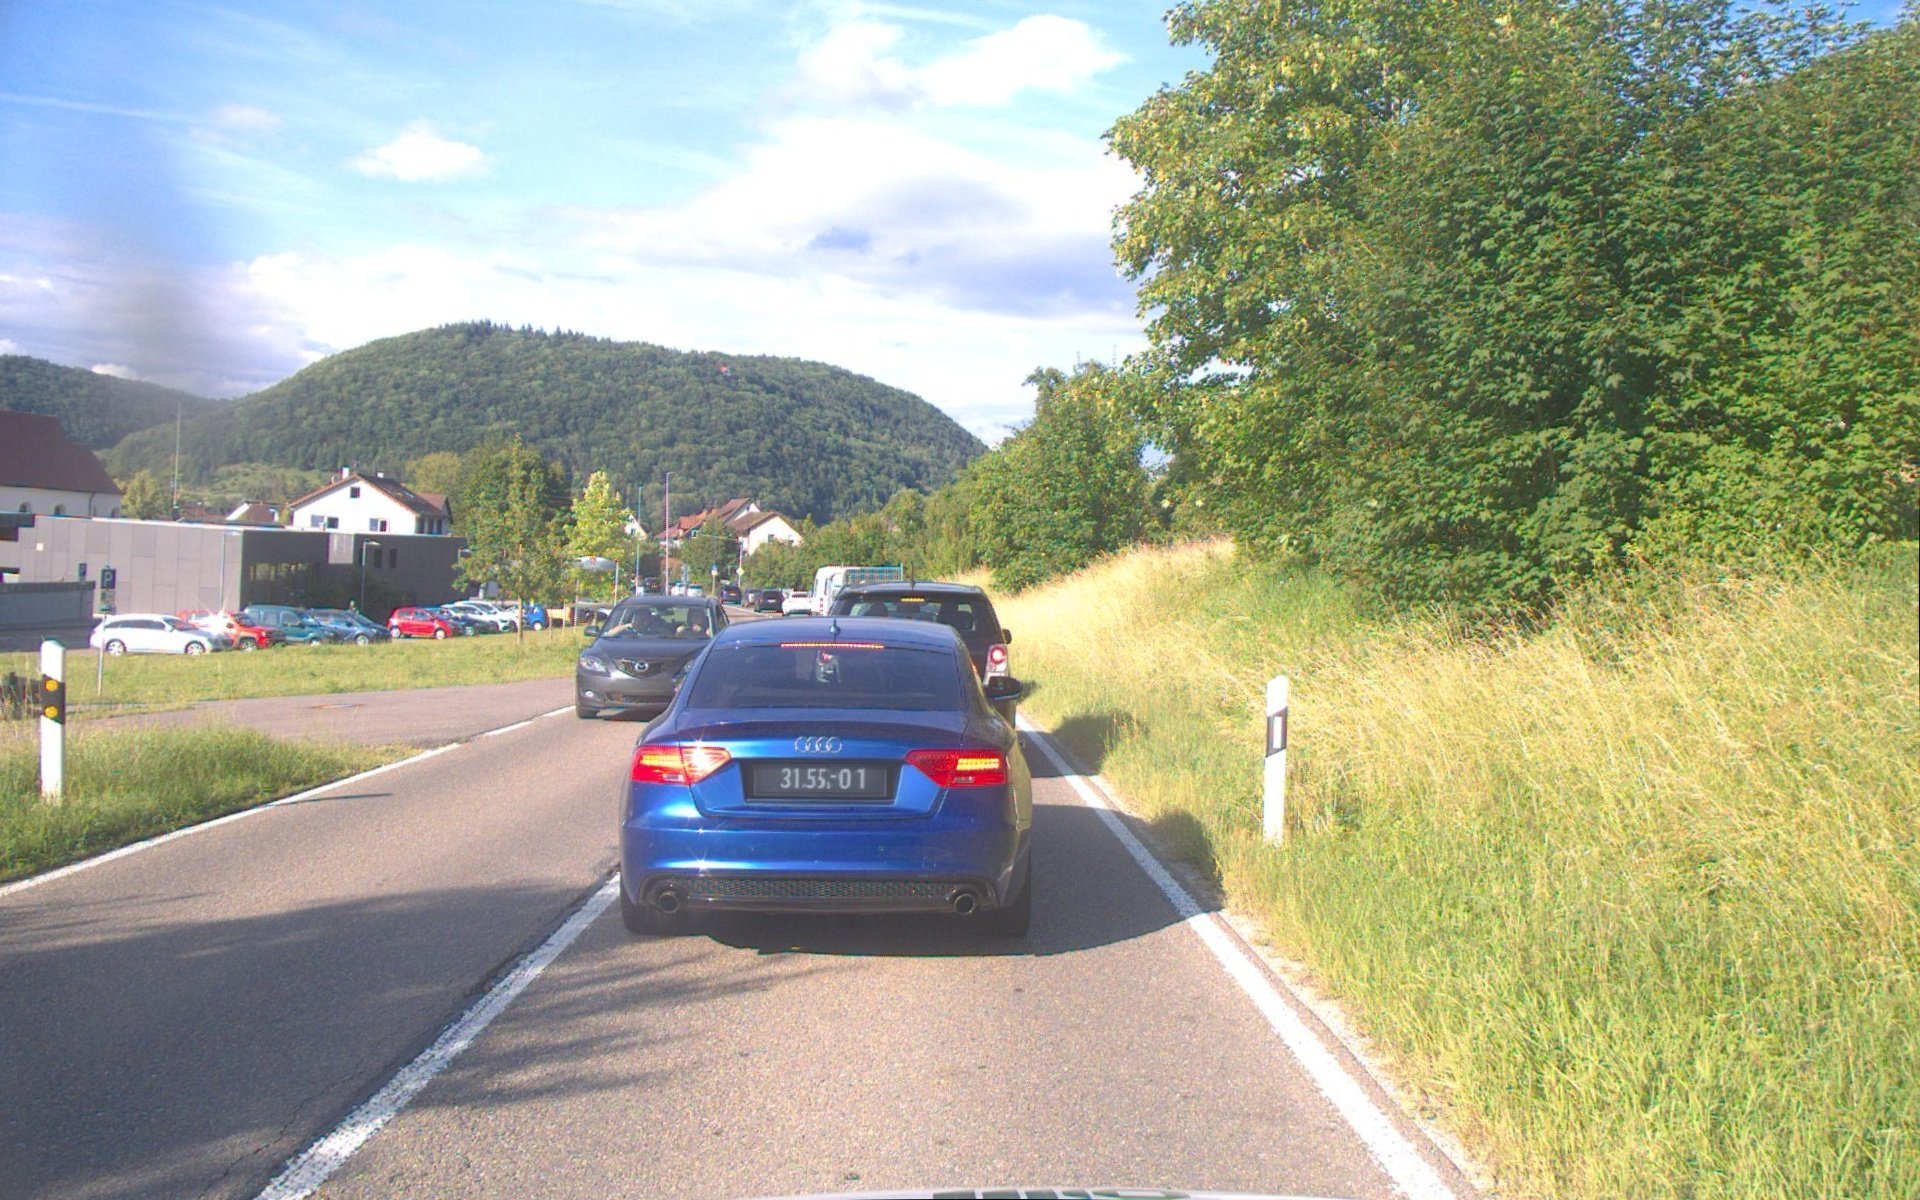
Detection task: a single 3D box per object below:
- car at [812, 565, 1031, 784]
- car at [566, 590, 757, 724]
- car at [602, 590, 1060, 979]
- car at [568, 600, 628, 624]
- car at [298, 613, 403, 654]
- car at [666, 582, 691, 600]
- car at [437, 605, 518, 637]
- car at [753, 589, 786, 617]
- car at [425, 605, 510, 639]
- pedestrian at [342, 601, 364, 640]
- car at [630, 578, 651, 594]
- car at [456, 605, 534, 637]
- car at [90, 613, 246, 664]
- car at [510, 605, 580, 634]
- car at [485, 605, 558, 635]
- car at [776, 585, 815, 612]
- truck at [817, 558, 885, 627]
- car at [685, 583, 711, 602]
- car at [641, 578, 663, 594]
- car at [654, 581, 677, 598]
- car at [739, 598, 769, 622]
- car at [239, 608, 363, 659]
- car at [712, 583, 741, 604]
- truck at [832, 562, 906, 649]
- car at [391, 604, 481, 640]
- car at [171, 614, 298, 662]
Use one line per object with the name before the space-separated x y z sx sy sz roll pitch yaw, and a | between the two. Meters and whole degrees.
car | -0.300 0.604 15.091 1.718 1.710 3.846 1 0 0
car | -3.564 0.644 20.401 1.669 1.455 4.049 1 0 -1
car | -0.486 0.713 8.224 1.718 1.455 3.846 1 0 0
car | -25.825 0.864 117.921 3.907 1.606 1.751 1 0 -3
car | -26.974 1.486 73.316 3.907 1.741 1.999 1 0 -3
car | -28.652 -0.937 168.184 1.818 1.742 3.977 1 0 -20
car | -26.761 1.162 91.821 3.907 1.741 1.999 1 0 -3
car | -12.468 0.215 108.156 1.813 1.742 3.988 1 0 -12
car | -26.238 1.152 88.173 3.907 1.741 1.999 1 0 -3
pedestrian | -32.639 1.107 88.962 0.808 2.049 0.973 1 -1 -1
car | -37.974 -1.646 196.523 1.819 1.742 3.975 1 0 -21
car | -26.710 1.181 95.106 3.907 1.741 1.999 1 0 -3
car | -28.653 1.388 59.969 4.637 1.741 1.999 1 0 -3
car | -25.963 1.238 103.579 3.907 1.741 1.999 1 0 -3
car | -26.738 1.211 100.893 3.907 1.741 1.999 1 0 -3
car | -9.545 -0.077 95.951 1.813 1.508 3.987 1 0 -12
truck | -4.484 -0.280 66.936 2.188 2.615 6.695 1 0 -8
car | -25.264 -0.738 159.442 1.817 1.742 3.980 1 0 -18
car | -34.977 -1.540 187.840 1.819 1.742 3.974 1 0 -21
car | -31.670 -1.114 177.819 1.818 1.742 3.976 1 0 -20
car | -15.578 0.720 125.004 1.814 1.742 3.987 1 0 -13
car | -27.367 1.386 68.808 4.318 2.043 1.999 1 0 -3
car | -19.725 -0.530 139.785 1.816 1.742 3.981 1 0 -17
truck | -2.946 0.180 52.919 2.186 2.615 6.098 1 0 -4
car | -26.463 1.124 83.621 3.907 1.741 1.999 1 0 -3
car | -27.590 1.421 62.994 3.907 1.741 1.999 1 0 -3
